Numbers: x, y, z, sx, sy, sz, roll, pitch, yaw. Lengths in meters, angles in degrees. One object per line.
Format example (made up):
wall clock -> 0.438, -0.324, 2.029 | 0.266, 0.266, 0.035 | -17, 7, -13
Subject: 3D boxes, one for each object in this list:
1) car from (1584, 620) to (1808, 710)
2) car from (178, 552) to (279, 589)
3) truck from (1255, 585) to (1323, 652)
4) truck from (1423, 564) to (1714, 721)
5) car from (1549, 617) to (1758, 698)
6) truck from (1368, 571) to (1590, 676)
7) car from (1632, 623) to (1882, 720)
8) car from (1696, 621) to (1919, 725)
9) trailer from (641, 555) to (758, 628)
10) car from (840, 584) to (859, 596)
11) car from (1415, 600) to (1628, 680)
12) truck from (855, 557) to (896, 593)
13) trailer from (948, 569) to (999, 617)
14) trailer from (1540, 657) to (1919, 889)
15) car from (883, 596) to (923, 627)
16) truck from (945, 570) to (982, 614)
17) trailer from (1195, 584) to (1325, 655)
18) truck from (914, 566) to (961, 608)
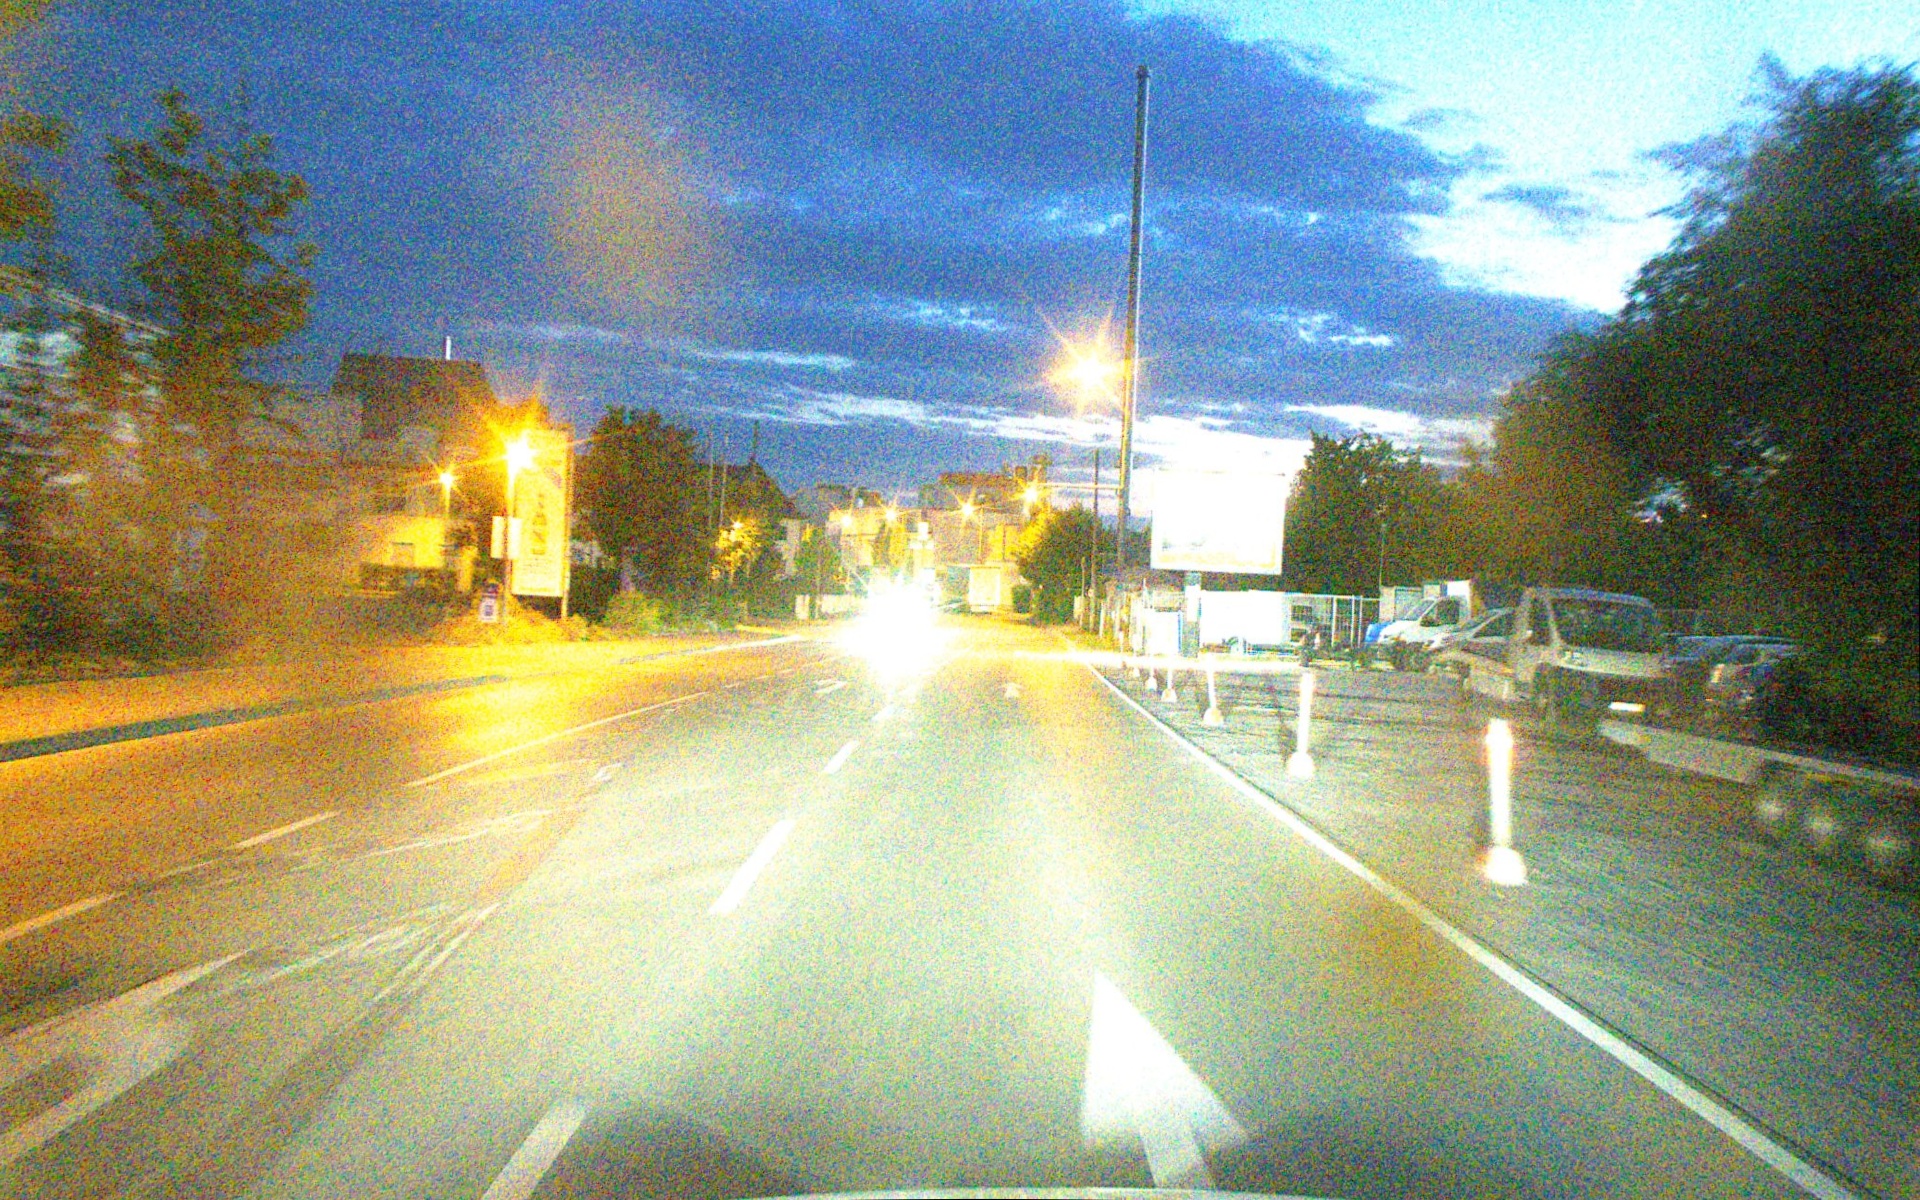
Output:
car -> 14.960, 1.303, 33.762 | 3.777, 1.624, 1.709 | 2, 0, 0
car -> -36.730, -1.472, 83.180 | 4.260, 1.617, 1.904 | 3, 0, -13
truck -> 14.790, 0.807, 74.685 | 2.137, 2.796, 7.320 | 3, 0, 5
truck -> 10.469, 0.659, 29.377 | 2.329, 2.323, 7.744 | 2, 0, 1
car -> 14.994, 1.229, 35.888 | 3.777, 1.542, 1.709 | 2, 0, 0
truck -> 14.542, 0.638, 46.612 | 5.416, 2.645, 2.473 | 2, 0, 1
car -> 14.942, 1.313, 31.175 | 3.775, 1.588, 1.903 | 2, 0, 3
car -> 15.295, 1.282, 29.238 | 3.777, 1.632, 1.709 | 2, 0, 0
trailer -> -10.290, -0.354, 65.566 | 4.258, 2.767, 2.000 | 1, 1, 1
car -> -14.131, -1.285, 211.938 | 1.821, 1.545, 3.805 | 1, 1, -14
car -> 14.861, 1.032, 44.010 | 4.967, 1.868, 1.990 | 2, 0, 4
truck -> -10.138, -2.978, 197.142 | 3.457, 4.052, 10.316 | 1, 1, -11
trailer -> 1.134, -0.664, 147.688 | 2.755, 4.052, 13.954 | 1, 1, -7
trailer -> 6.542, 1.166, 11.435 | 2.128, 0.983, 9.620 | 4, 1, 3
car -> -3.245, 0.646, 94.610 | 1.952, 1.655, 4.753 | 2, 0, 1
truck -> 0.289, -0.785, 154.325 | 2.776, 4.052, 6.041 | 1, 1, -7
trailer -> 9.298, 0.574, 51.255 | 3.672, 2.049, 1.613 | 1, 1, 25
truck -> -2.283, -1.336, 164.522 | 2.780, 4.052, 10.313 | 1, 1, -11
